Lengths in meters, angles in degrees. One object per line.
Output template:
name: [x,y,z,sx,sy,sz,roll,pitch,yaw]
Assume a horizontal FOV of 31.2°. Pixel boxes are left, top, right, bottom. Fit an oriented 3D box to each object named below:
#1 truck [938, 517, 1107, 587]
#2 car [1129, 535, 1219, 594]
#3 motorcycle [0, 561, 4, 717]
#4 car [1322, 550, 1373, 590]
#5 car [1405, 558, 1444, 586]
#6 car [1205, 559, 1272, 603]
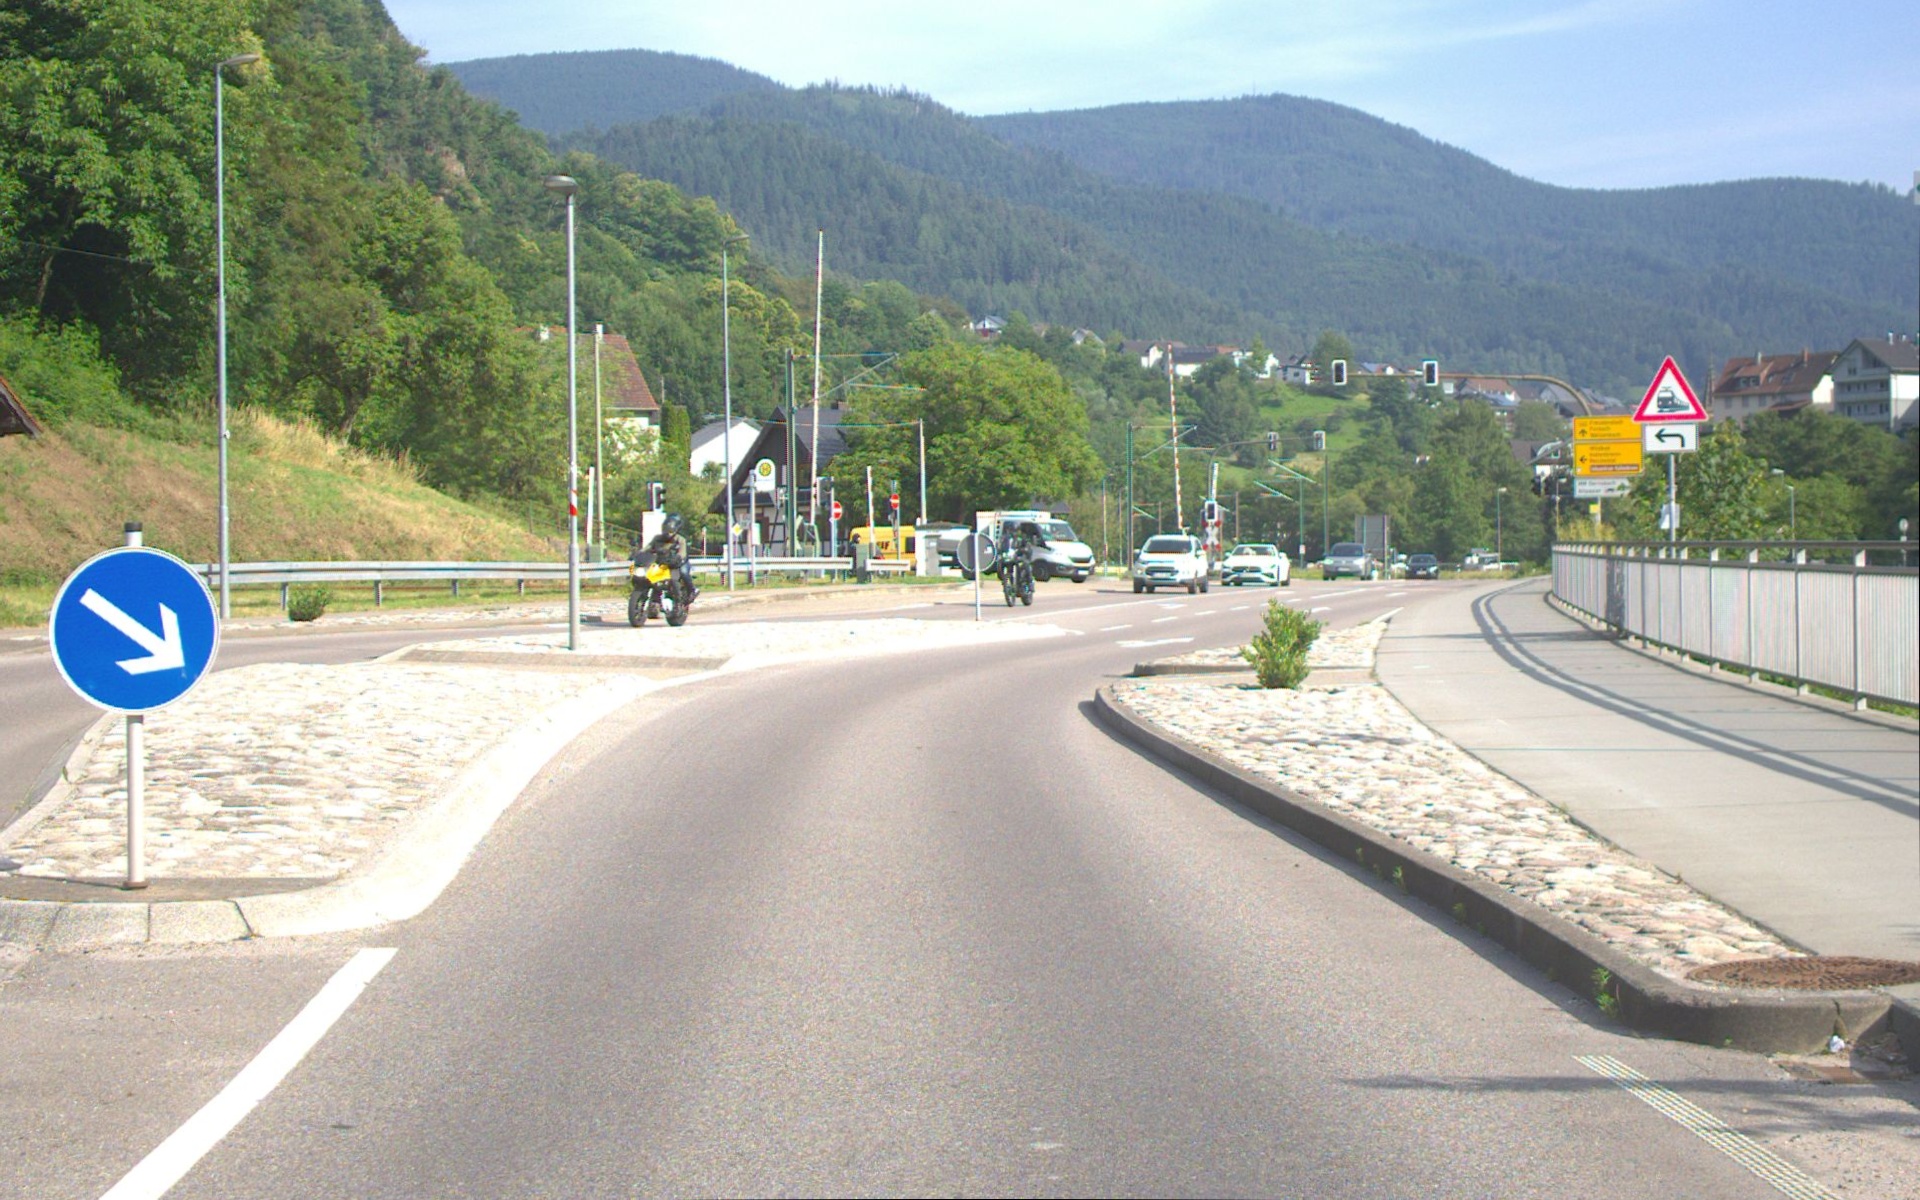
truck: [2.097,-1.664,117.569,5.999,2.258,1.995,3,2,44]
car: [6.042,-1.025,96.709,1.765,1.555,3.998,1,2,15]
motorcycle: [-7.598,0.326,25.267,0.894,1.179,2.306,0,2,-11]
car: [16.323,-1.252,144.663,1.759,1.516,4.202,1,-1,12]
car: [24.275,-1.483,179.487,1.774,1.412,3.783,-2,0,11]
car: [9.230,-0.637,113.536,1.783,1.395,4.825,1,1,10]
